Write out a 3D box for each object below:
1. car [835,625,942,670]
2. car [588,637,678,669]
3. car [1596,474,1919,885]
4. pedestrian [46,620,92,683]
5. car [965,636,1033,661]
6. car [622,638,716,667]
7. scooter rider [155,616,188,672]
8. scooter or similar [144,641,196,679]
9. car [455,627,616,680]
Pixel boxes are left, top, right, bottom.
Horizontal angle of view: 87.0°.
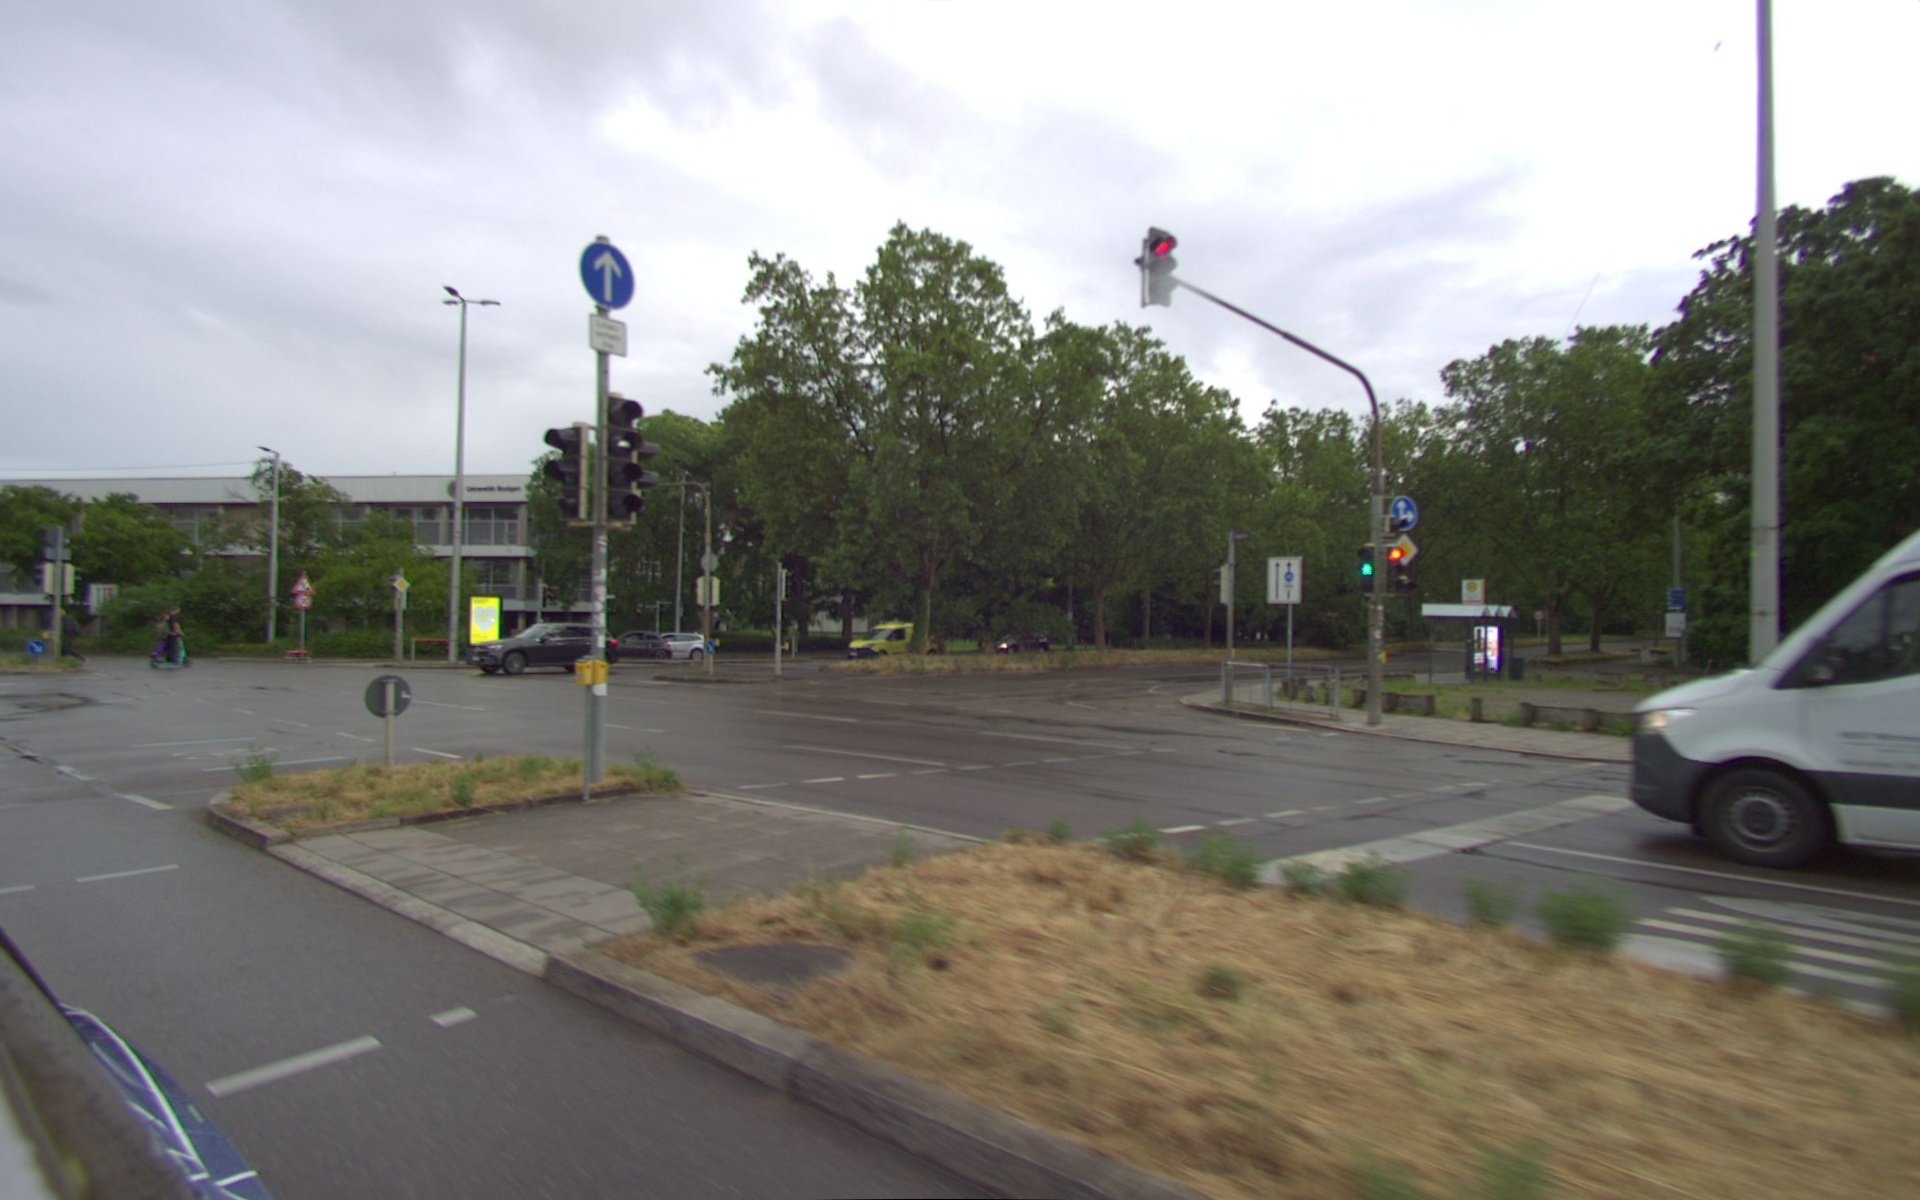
[{"bbox_3d":[-3.143,2.134,45.147,1.886,1.891,4.672,-4,-4,44],"label":"car"},{"bbox_3d":[-15.380,2.477,47.529,3.931,1.461,1.874,1,-2,-20],"label":"car"},{"bbox_3d":[7.434,0.484,5.821,2.032,2.513,6.051,3,-4,-37],"label":"car"},{"bbox_3d":[-27.741,1.605,31.519,1.024,1.906,0.821,-3,-2,32],"label":"pedestrian"},{"bbox_3d":[2.299,2.916,60.625,3.942,1.461,1.868,0,-2,-1],"label":"car"},{"bbox_3d":[-14.751,2.646,51.321,4.327,1.461,1.874,1,-3,-26],"label":"car"},{"bbox_3d":[-26.969,1.496,34.622,0.721,1.897,0.627,-2,-2,23],"label":"scooter rider"},{"bbox_3d":[-26.986,2.046,34.582,0.589,1.248,1.304,-2,-2,21],"label":"scooter or similar"},{"bbox_3d":[-13.825,1.738,33.173,1.834,1.620,4.514,-3,-4,41],"label":"car"}]
